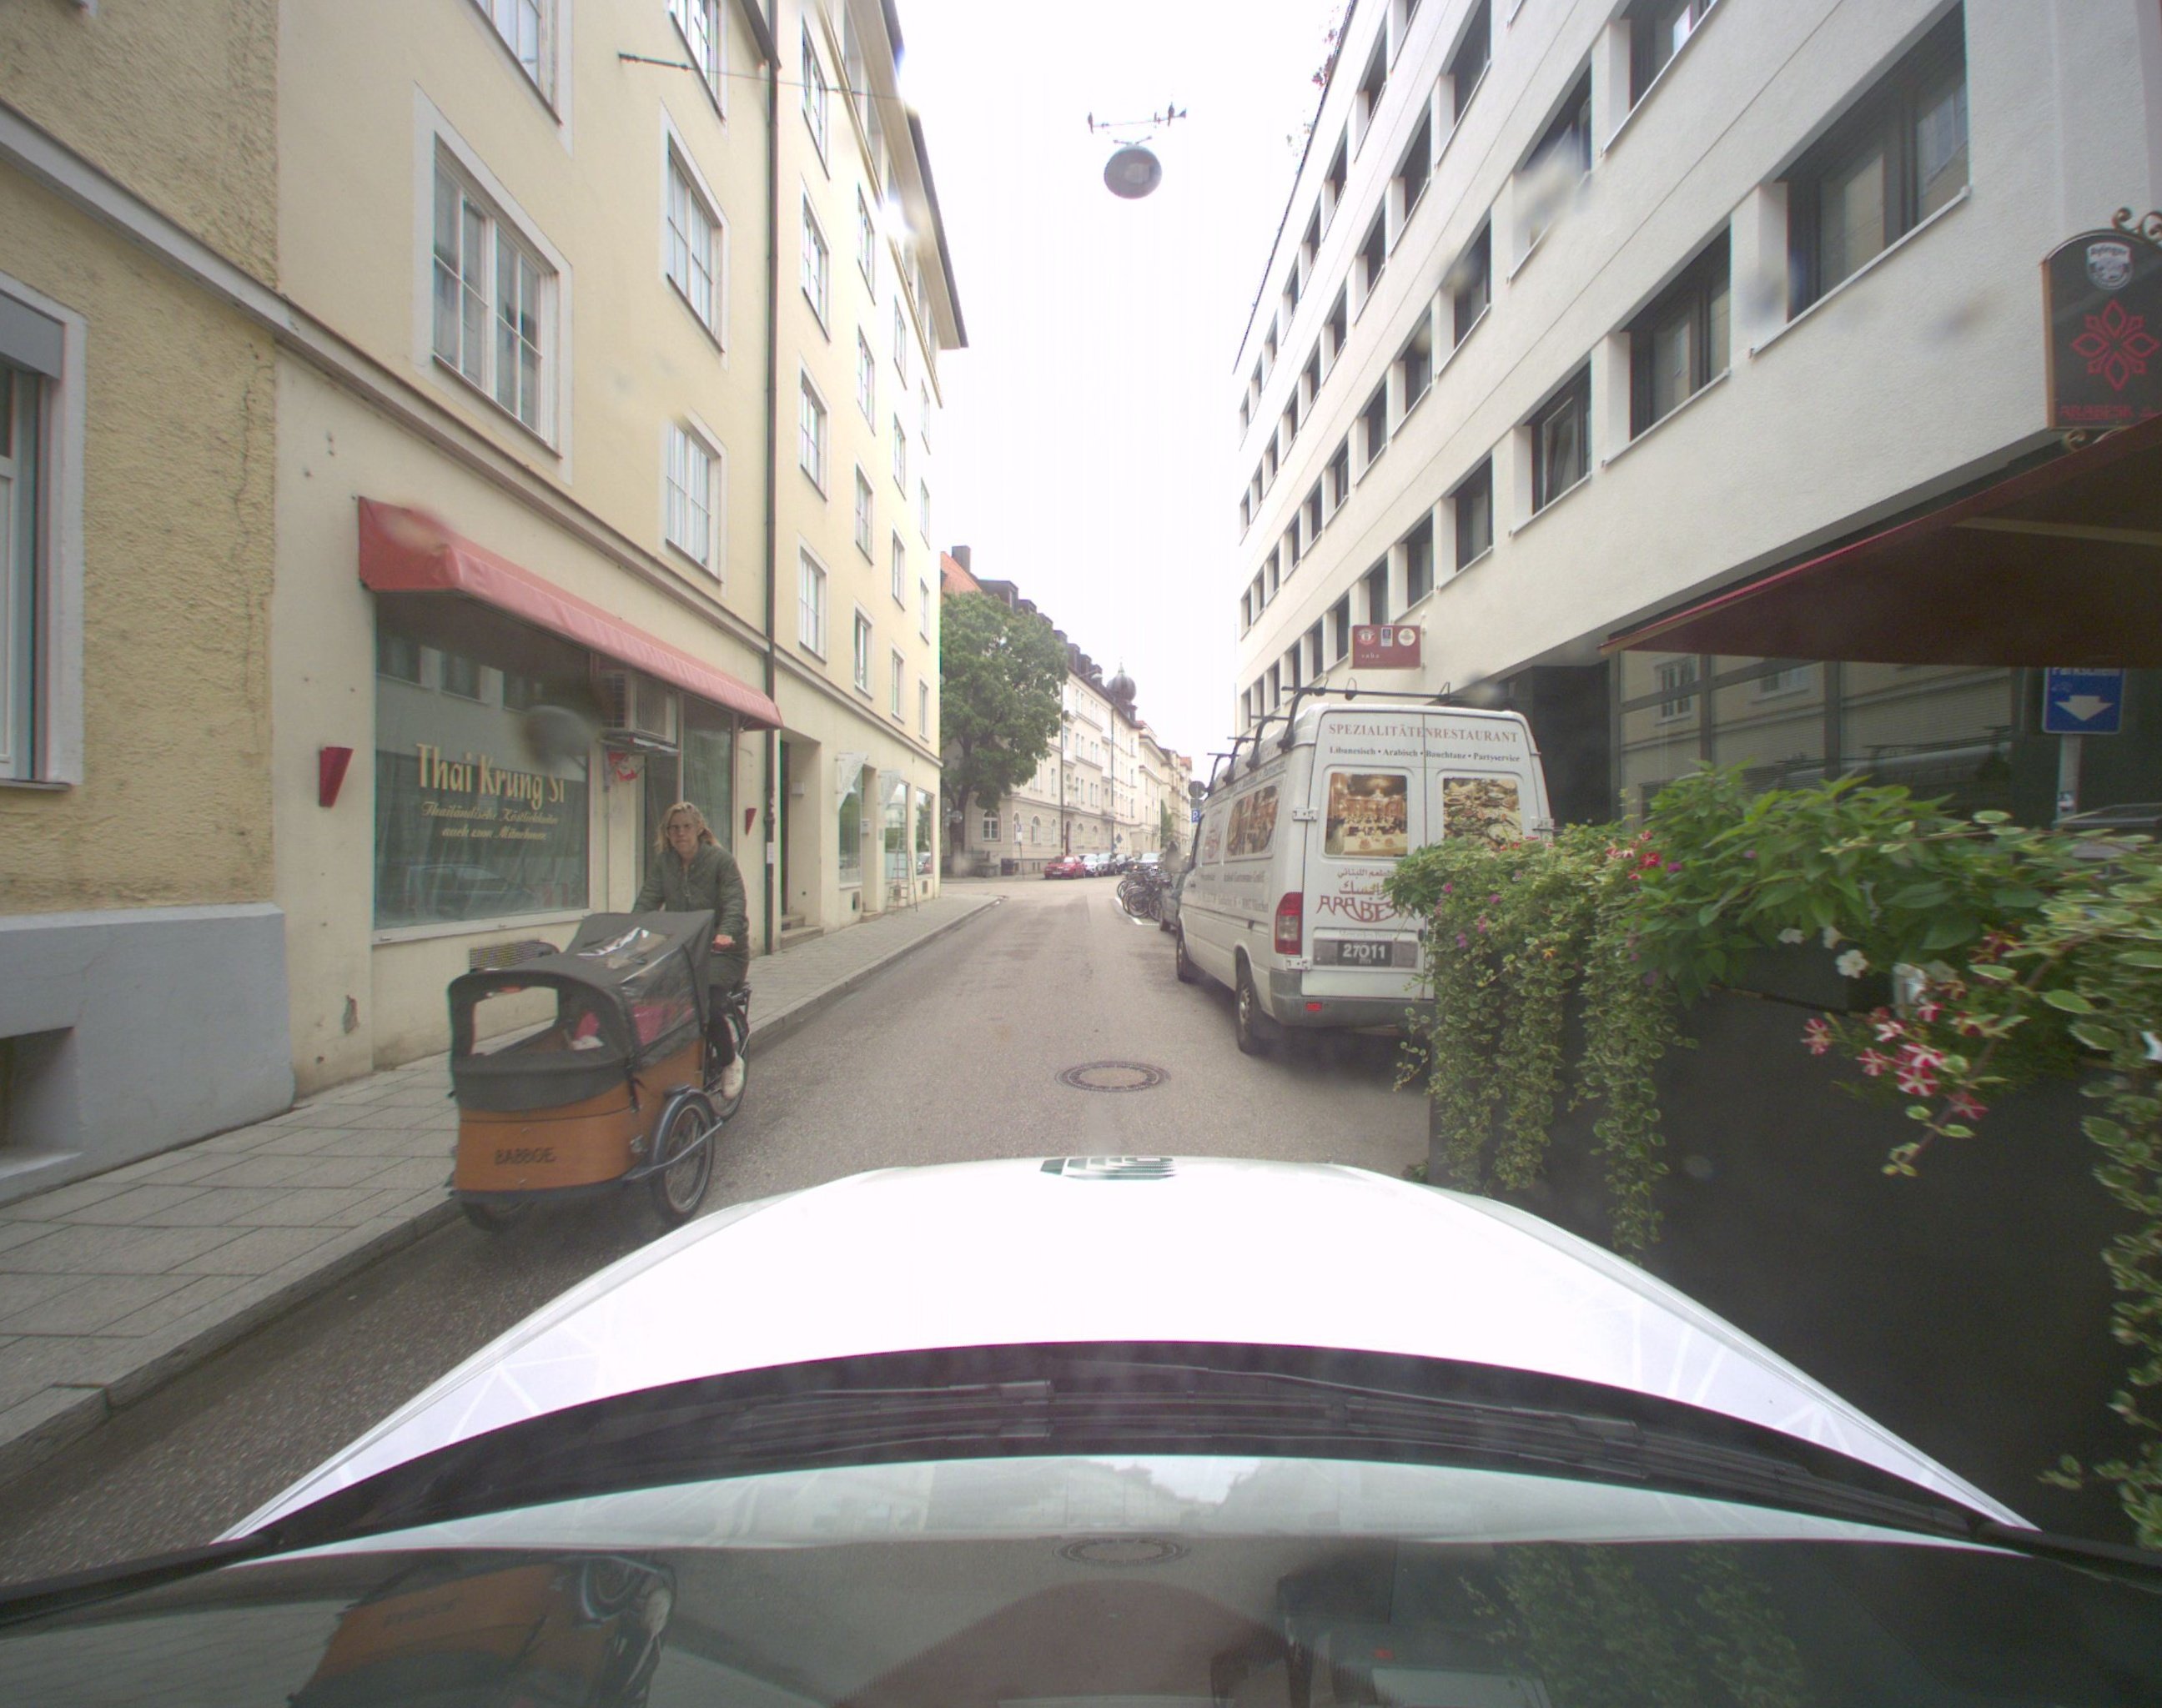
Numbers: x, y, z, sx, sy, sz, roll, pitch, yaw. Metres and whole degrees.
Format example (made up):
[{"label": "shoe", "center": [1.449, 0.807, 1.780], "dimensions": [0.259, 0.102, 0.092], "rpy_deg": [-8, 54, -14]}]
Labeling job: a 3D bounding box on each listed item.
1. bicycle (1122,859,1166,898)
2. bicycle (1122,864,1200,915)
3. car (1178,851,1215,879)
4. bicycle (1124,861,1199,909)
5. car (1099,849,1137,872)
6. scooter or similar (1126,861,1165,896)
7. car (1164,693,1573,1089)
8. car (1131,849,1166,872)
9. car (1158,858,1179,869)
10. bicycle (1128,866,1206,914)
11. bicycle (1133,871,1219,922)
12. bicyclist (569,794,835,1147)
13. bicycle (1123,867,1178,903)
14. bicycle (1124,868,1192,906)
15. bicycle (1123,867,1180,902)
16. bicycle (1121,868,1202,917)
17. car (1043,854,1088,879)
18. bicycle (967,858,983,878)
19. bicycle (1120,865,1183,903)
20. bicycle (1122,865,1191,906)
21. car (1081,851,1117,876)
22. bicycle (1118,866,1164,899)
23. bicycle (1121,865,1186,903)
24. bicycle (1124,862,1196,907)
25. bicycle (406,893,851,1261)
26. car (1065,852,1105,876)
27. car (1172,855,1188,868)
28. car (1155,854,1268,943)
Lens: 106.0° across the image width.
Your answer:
[{"label": "bicycle", "center": [2.151, 0.833, 27.903], "dimensions": [1.451, 1.285, 0.445], "rpy_deg": [0, 0, 1]}, {"label": "bicycle", "center": [1.950, 0.865, 19.994], "dimensions": [1.869, 1.204, 0.488], "rpy_deg": [0, 1, -3]}, {"label": "car", "center": [7.255, 0.660, 50.965], "dimensions": [1.807, 1.636, 4.304], "rpy_deg": [2, 0, 14]}, {"label": "bicycle", "center": [2.107, 0.804, 21.410], "dimensions": [1.869, 1.204, 0.579], "rpy_deg": [-1, 0, -3]}, {"label": "car", "center": [2.853, 0.476, 62.350], "dimensions": [1.979, 1.738, 4.539], "rpy_deg": [0, 0, 14]}, {"label": "scooter or similar", "center": [2.253, 0.851, 28.701], "dimensions": [1.347, 1.210, 0.418], "rpy_deg": [0, 0, 1]}, {"label": "car", "center": [2.146, 0.234, 8.197], "dimensions": [1.915, 2.506, 5.994], "rpy_deg": [1, 0, -1]}, {"label": "car", "center": [4.920, 0.465, 58.962], "dimensions": [1.944, 1.607, 4.323], "rpy_deg": [-1, 0, 12]}, {"label": "car", "center": [9.741, 1.025, 90.247], "dimensions": [1.893, 1.222, 4.014], "rpy_deg": [0, 0, 13]}, {"label": "bicycle", "center": [2.174, 0.903, 20.679], "dimensions": [1.869, 1.157, 0.565], "rpy_deg": [1, 1, -3]}, {"label": "bicycle", "center": [2.147, 0.960, 18.470], "dimensions": [1.869, 1.079, 0.488], "rpy_deg": [2, 1, -3]}, {"label": "bicyclist", "center": [-2.040, 0.576, 4.575], "dimensions": [0.923, 1.721, 1.099], "rpy_deg": [-1, 0, 0]}, {"label": "bicycle", "center": [2.156, 0.957, 25.245], "dimensions": [1.671, 1.079, 0.336], "rpy_deg": [0, 1, -4]}, {"label": "bicycle", "center": [2.180, 0.939, 23.284], "dimensions": [1.870, 1.052, 0.563], "rpy_deg": [0, -2, -4]}, {"label": "bicycle", "center": [2.213, 0.958, 25.660], "dimensions": [1.736, 1.079, 0.451], "rpy_deg": [0, 1, -4]}, {"label": "bicycle", "center": [1.922, 0.920, 19.473], "dimensions": [1.869, 1.108, 0.488], "rpy_deg": [1, 1, -3]}, {"label": "car", "center": [-0.870, 0.706, 48.067], "dimensions": [1.719, 1.378, 4.240], "rpy_deg": [0, 0, 12]}, {"label": "bicycle", "center": [-6.075, 0.771, 46.677], "dimensions": [0.491, 1.052, 1.830], "rpy_deg": [0, 2, 5]}, {"label": "bicycle", "center": [2.106, 0.895, 24.420], "dimensions": [1.870, 1.079, 0.408], "rpy_deg": [0, 1, -4]}, {"label": "bicycle", "center": [2.081, 0.870, 22.580], "dimensions": [1.870, 1.095, 0.439], "rpy_deg": [0, 1, -4]}, {"label": "car", "center": [1.285, 0.625, 57.584], "dimensions": [1.931, 1.702, 4.011], "rpy_deg": [0, 0, 10]}, {"label": "bicycle", "center": [1.964, 0.947, 26.892], "dimensions": [1.450, 1.069, 0.462], "rpy_deg": [0, 0, -8]}, {"label": "bicycle", "center": [2.141, 0.884, 23.981], "dimensions": [1.870, 1.079, 0.402], "rpy_deg": [0, 1, -4]}, {"label": "bicycle", "center": [2.127, 0.808, 22.039], "dimensions": [1.889, 1.170, 0.565], "rpy_deg": [-1, 0, -3]}, {"label": "bicycle", "center": [-2.030, 0.886, 4.245], "dimensions": [0.929, 1.257, 2.414], "rpy_deg": [-1, -1, 1]}, {"label": "car", "center": [0.321, 0.618, 52.615], "dimensions": [1.982, 1.473, 4.228], "rpy_deg": [0, 0, 8]}, {"label": "car", "center": [12.364, 0.945, 101.569], "dimensions": [1.809, 1.574, 4.012], "rpy_deg": [0, 0, 11]}, {"label": "car", "center": [2.323, 0.737, 15.260], "dimensions": [1.575, 1.464, 3.552], "rpy_deg": [0, 0, 1]}]
